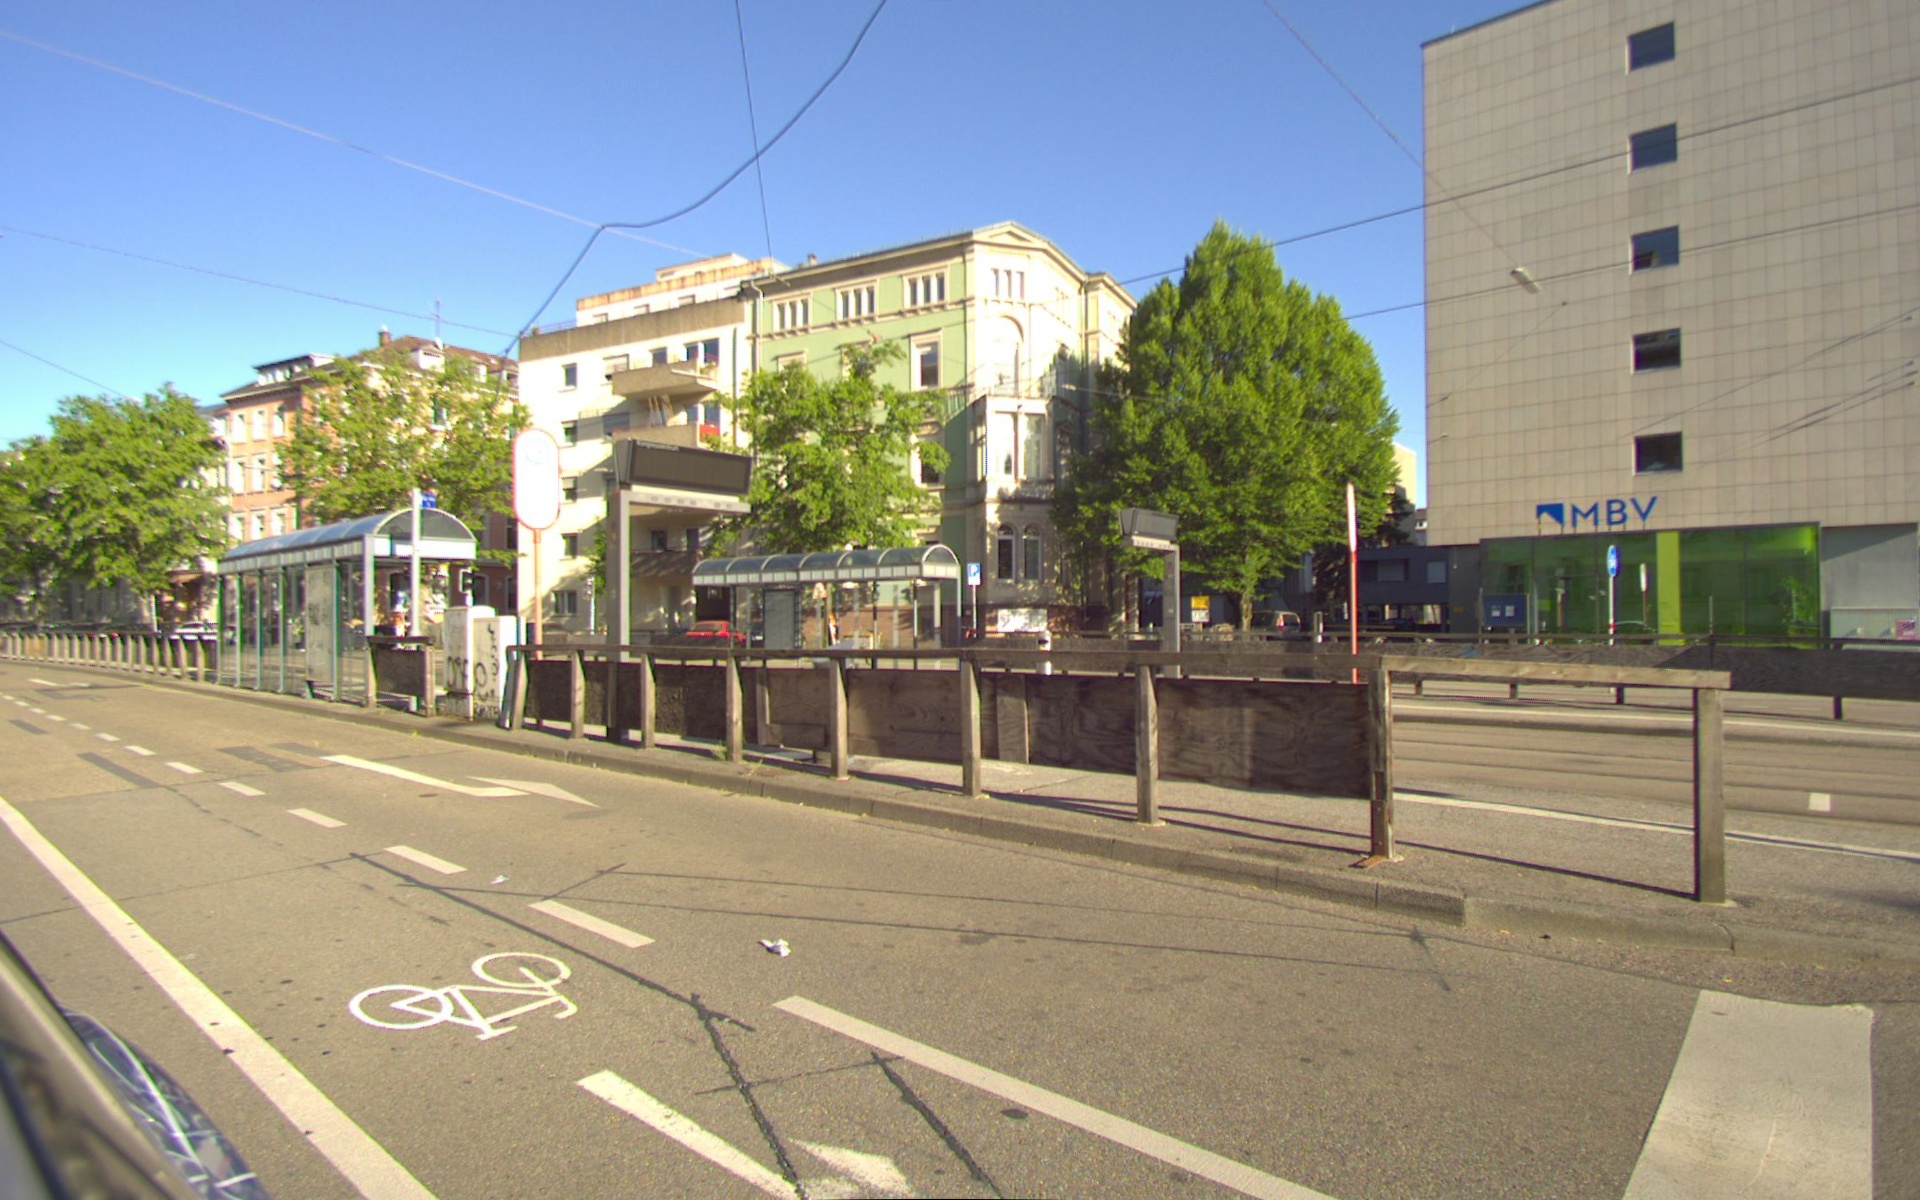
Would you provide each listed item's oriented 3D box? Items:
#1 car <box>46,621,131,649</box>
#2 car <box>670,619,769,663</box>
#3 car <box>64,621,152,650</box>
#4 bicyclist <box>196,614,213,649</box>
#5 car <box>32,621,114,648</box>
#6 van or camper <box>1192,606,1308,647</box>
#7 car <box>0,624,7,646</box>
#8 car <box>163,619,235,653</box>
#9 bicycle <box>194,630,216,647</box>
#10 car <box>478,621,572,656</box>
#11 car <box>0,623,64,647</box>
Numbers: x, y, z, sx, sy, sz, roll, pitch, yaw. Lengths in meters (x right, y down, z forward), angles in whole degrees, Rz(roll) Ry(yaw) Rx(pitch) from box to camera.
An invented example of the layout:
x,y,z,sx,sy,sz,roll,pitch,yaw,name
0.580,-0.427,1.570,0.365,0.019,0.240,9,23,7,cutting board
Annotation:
x,y,z,sx,sy,sz,roll,pitch,yaw,name
-55.319,2.197,64.259,2.001,1.697,3.942,-2,-2,44,car
-9.048,1.532,38.282,1.763,1.547,3.763,-1,-2,23,car
-52.003,2.122,61.784,2.001,1.697,3.942,-2,-2,44,car
-38.325,1.601,51.352,0.770,1.774,0.529,1,-1,41,bicyclist
-58.324,2.254,66.590,2.001,1.697,3.942,-2,-2,44,car
11.460,1.027,40.123,3.998,1.417,1.943,1,0,41,van or camper
-72.116,2.552,73.757,2.001,1.604,3.812,-2,-2,44,car
-43.551,2.026,57.995,1.966,1.736,4.012,0,0,-15,car
-38.328,1.950,51.347,1.852,0.793,0.529,1,0,41,bicycle
-18.046,1.604,41.994,3.498,1.406,1.602,-1,-2,22,car
-63.631,2.394,68.905,3.811,1.604,2.001,1,-2,-45,car
